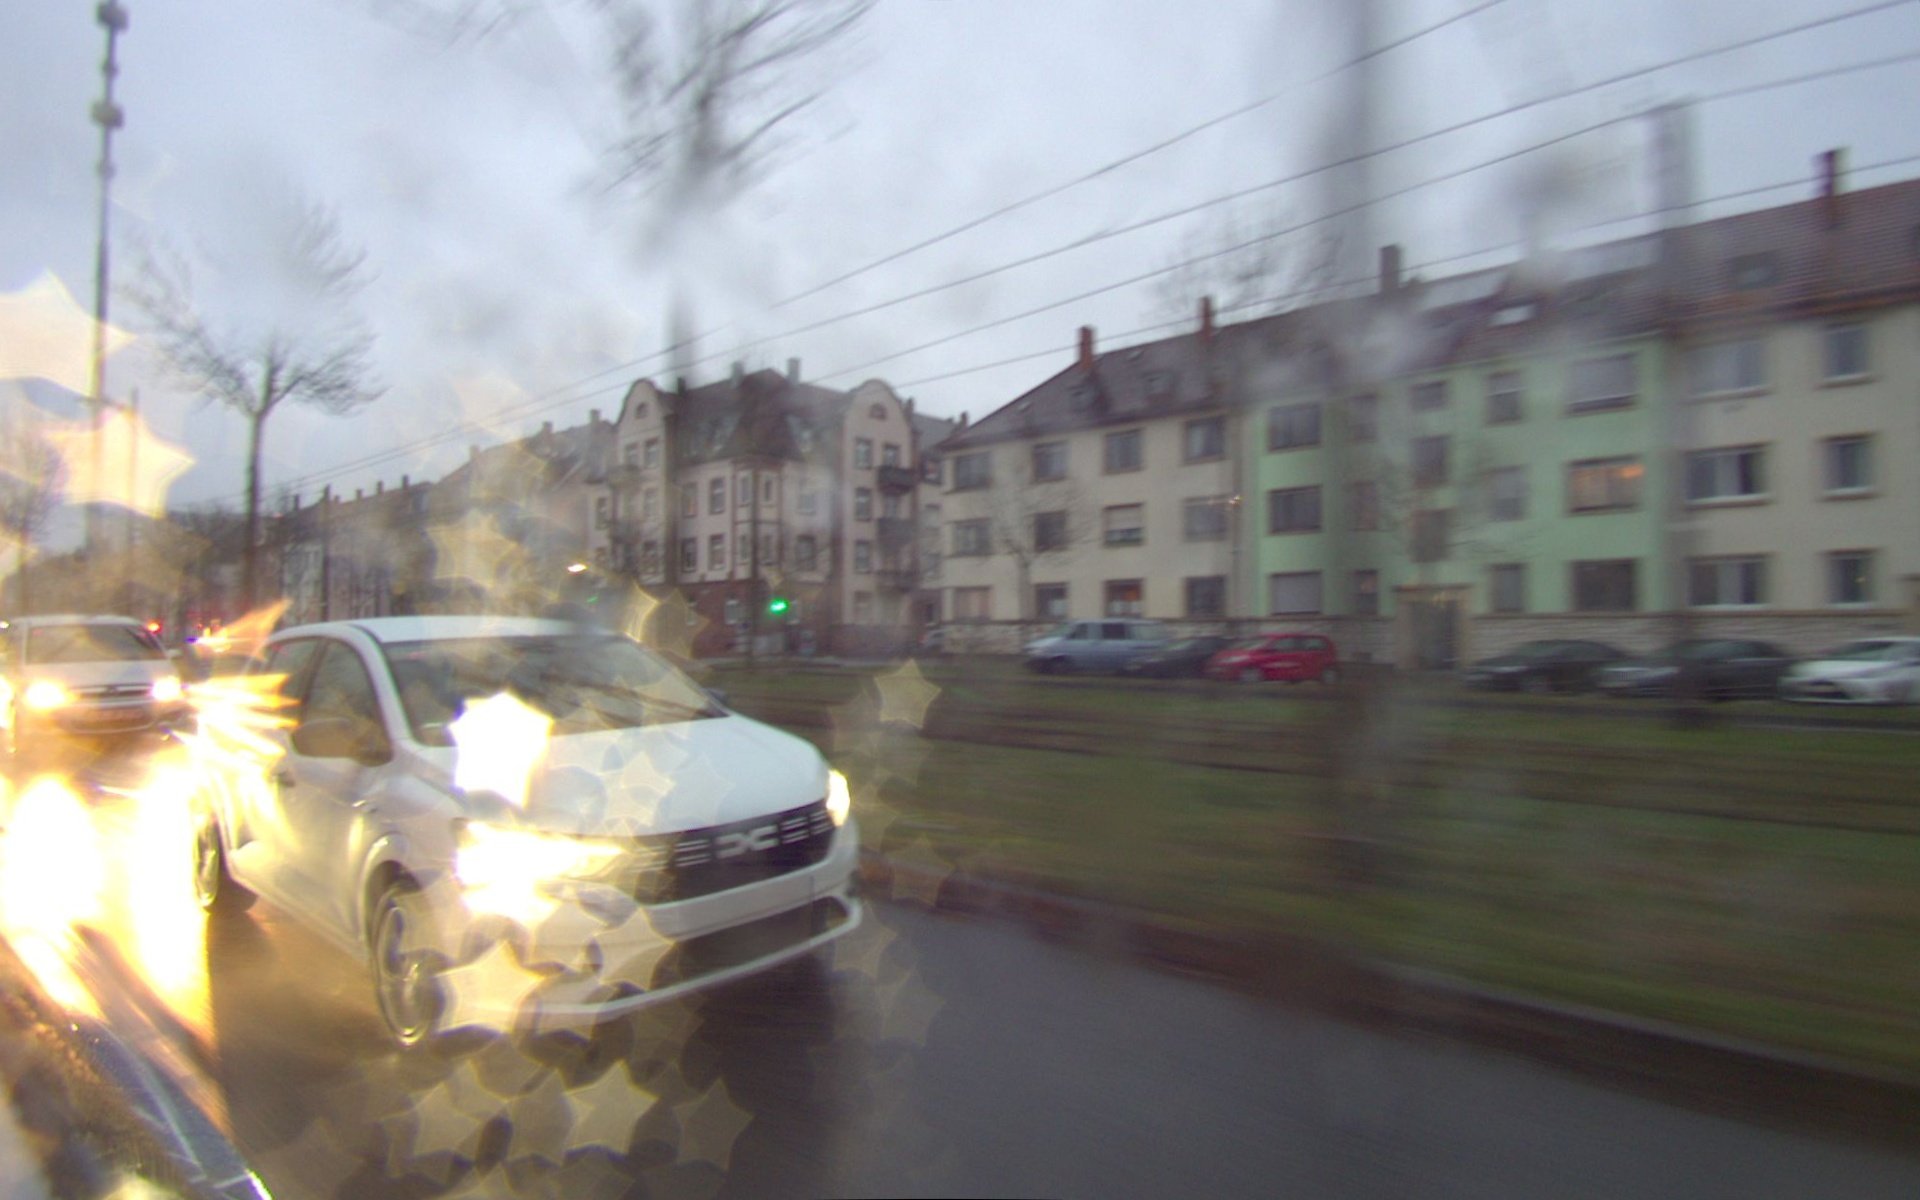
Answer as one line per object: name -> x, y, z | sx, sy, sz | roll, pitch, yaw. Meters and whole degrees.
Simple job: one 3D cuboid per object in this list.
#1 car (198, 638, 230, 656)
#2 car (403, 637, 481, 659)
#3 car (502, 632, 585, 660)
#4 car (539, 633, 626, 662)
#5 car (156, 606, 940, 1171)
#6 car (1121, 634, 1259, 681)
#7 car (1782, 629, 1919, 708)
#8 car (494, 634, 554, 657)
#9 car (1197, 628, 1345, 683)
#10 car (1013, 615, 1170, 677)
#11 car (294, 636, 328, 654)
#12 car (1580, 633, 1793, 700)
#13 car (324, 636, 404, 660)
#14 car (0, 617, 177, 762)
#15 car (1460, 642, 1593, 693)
car -> -65.373, 4.121, 88.659 | 3.782, 1.516, 1.529 | -2, -1, 42
car -> -33.976, 3.158, 66.415 | 4.197, 1.267, 1.837 | -1, 0, -9
car -> -22.792, 2.489, 55.460 | 3.977, 1.239, 1.352 | -3, 2, -13
car -> -19.946, 2.495, 53.622 | 4.039, 1.169, 1.716 | -3, 2, -10
car -> -2.148, 0.818, 4.649 | 3.998, 1.485, 1.671 | -2, -1, 40
car -> 6.724, 1.654, 29.719 | 3.511, 1.149, 1.742 | -2, 0, -17
car -> 18.198, 1.274, 19.573 | 3.778, 1.255, 1.743 | -2, 0, -18
car -> -24.889, 2.594, 57.792 | 2.870, 0.997, 1.800 | -3, 2, -14
car -> 8.593, 1.502, 28.030 | 3.519, 1.319, 1.691 | -2, 0, -17
car -> 4.195, 1.429, 32.382 | 4.580, 1.736, 1.838 | -2, 0, -15
car -> -53.772, 3.721, 83.829 | 3.910, 1.350, 1.449 | -2, -1, 43
car -> 15.493, 1.379, 21.619 | 3.756, 1.181, 1.743 | -2, 0, -17
car -> -41.872, 3.349, 71.185 | 4.586, 1.443, 1.698 | -1, -1, -13
car -> -11.291, 1.014, 12.799 | 3.908, 1.531, 1.616 | -2, -1, 43
car -> 13.274, 1.557, 23.754 | 2.351, 1.056, 1.441 | -2, -1, -17
